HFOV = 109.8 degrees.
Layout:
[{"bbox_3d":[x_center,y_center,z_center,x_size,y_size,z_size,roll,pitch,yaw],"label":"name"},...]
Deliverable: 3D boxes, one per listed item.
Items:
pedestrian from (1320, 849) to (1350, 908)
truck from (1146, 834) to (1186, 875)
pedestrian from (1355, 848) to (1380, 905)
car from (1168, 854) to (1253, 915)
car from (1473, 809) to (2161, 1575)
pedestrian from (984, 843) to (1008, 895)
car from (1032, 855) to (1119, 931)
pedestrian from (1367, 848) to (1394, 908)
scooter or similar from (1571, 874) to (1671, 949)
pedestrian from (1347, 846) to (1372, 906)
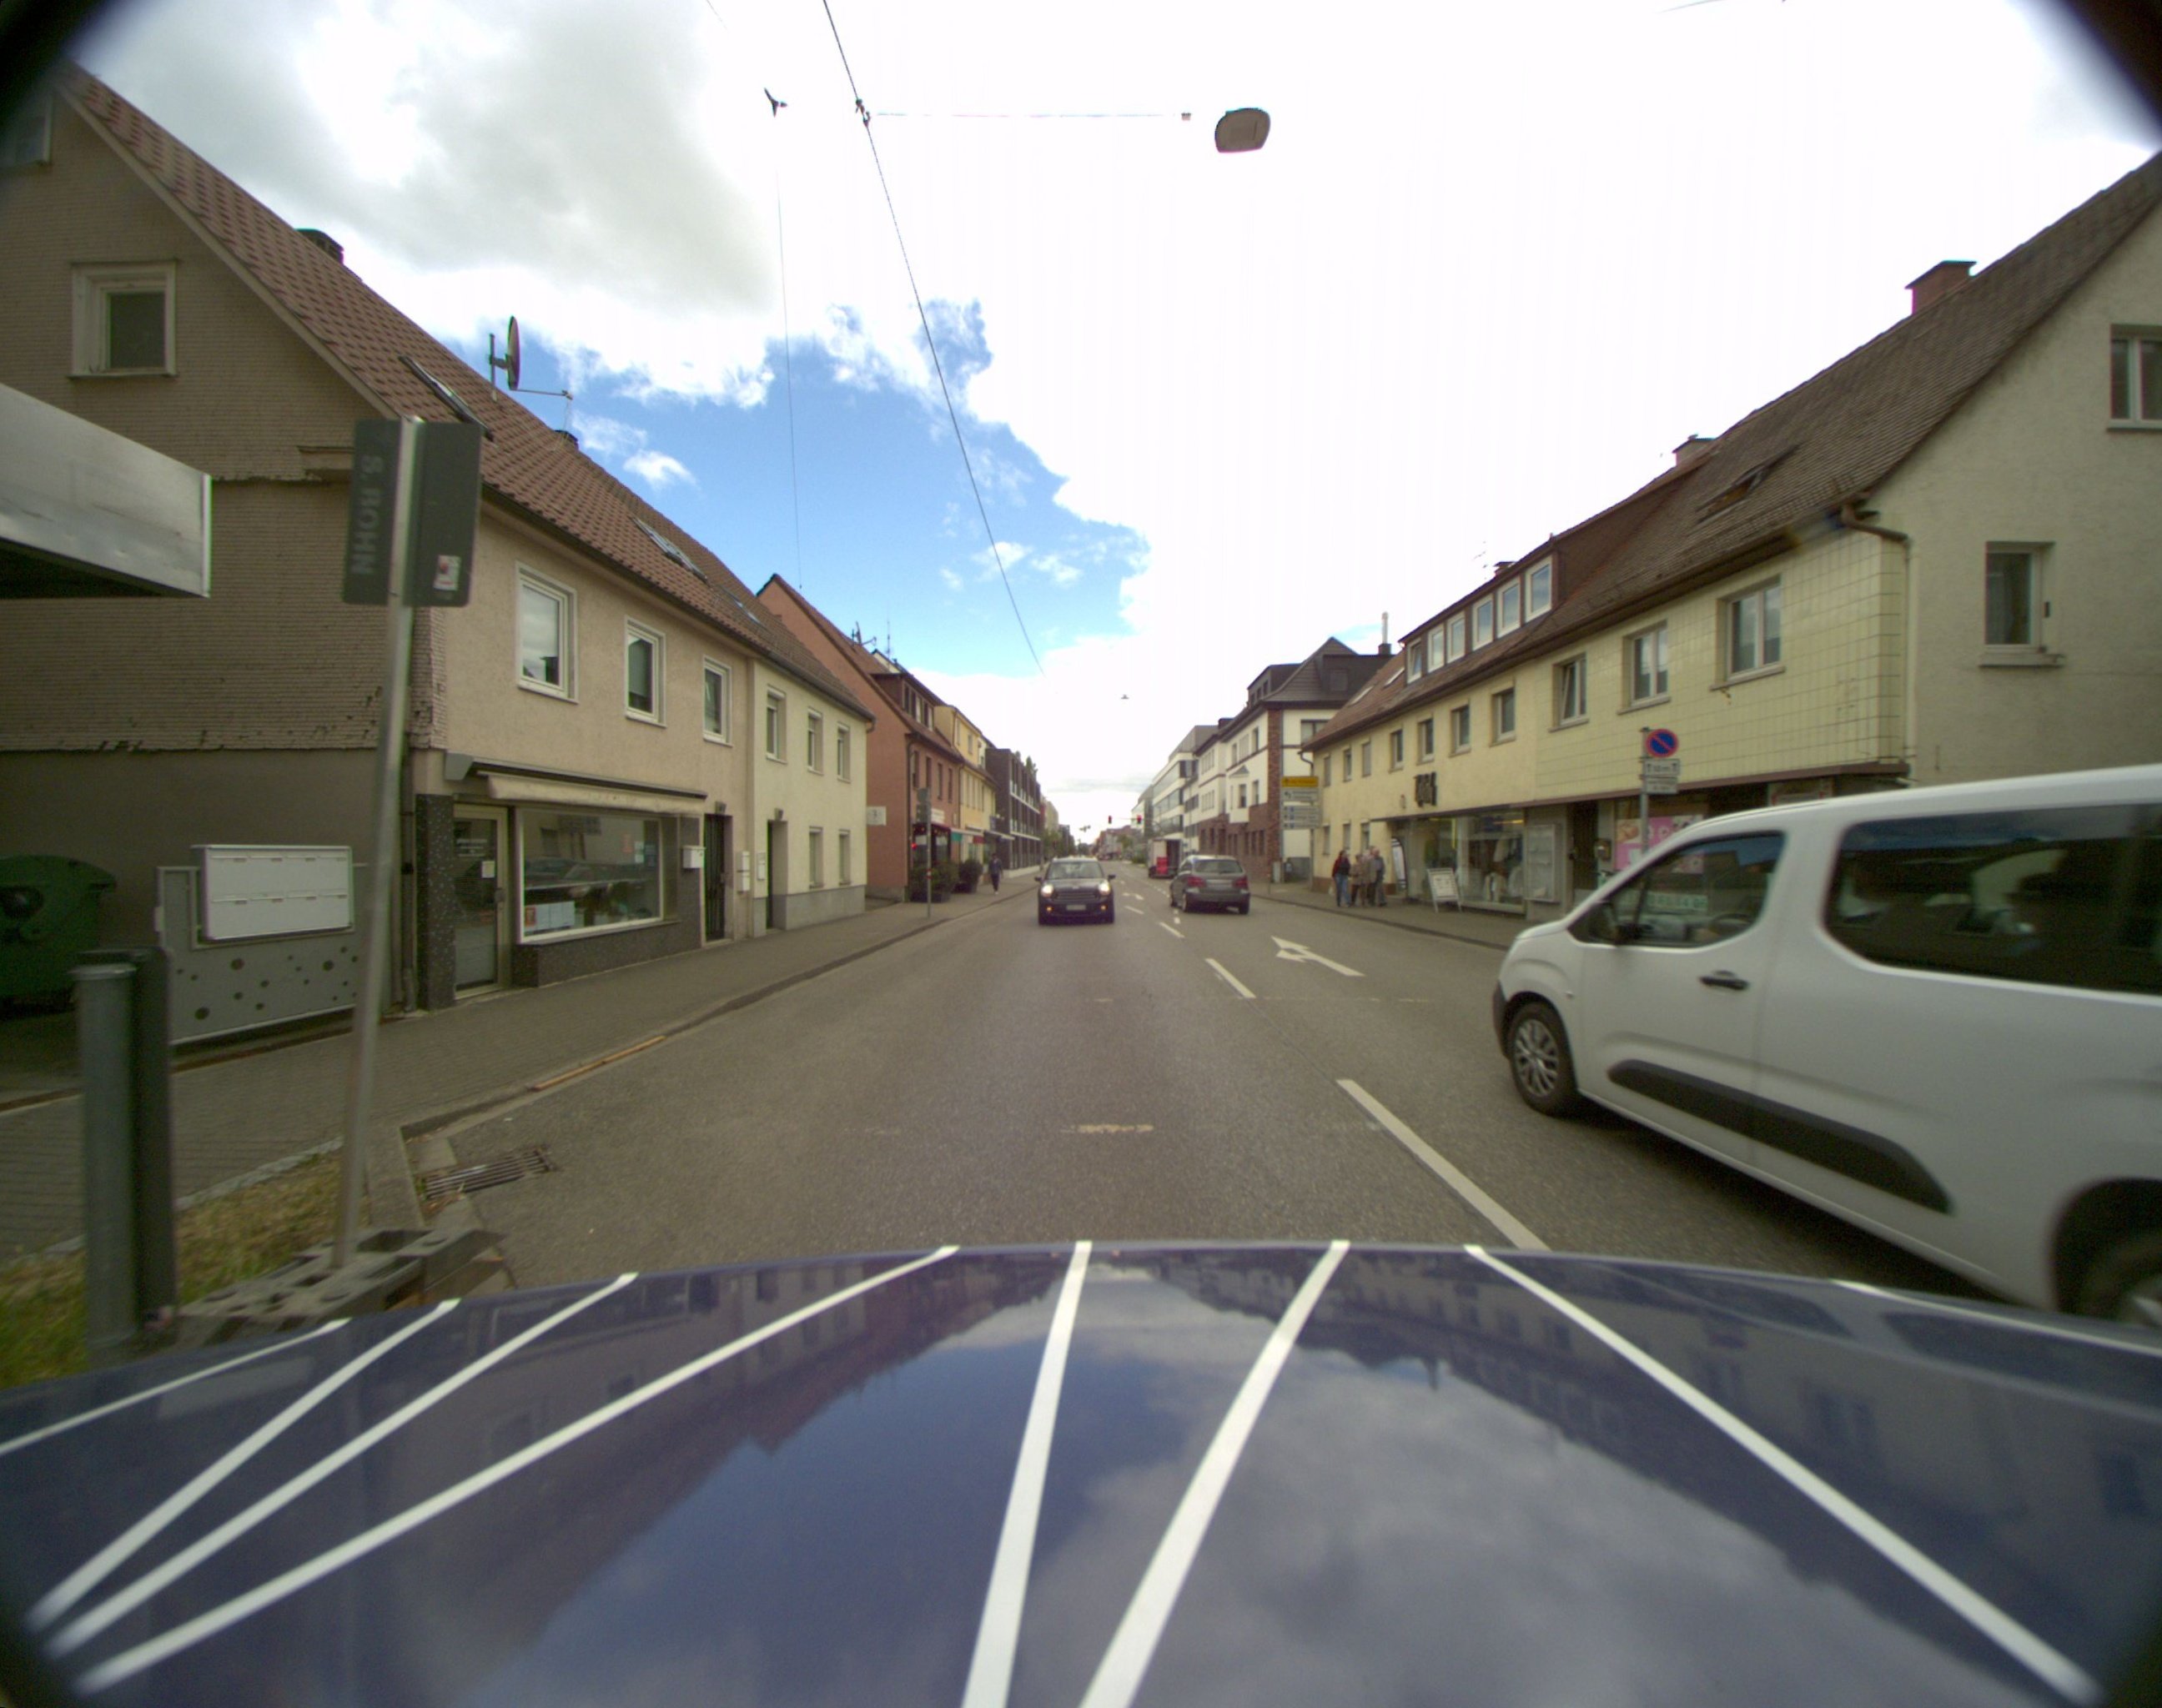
[{"bbox_3d":[7.568,0.716,22.651,0.679,1.727,0.717,0,1,1],"label":"pedestrian"},{"bbox_3d":[6.532,-0.004,58.928,2.468,2.954,5.964,-2,1,1],"label":"truck"},{"bbox_3d":[8.780,0.673,23.305,0.555,1.727,0.648,0,1,1],"label":"pedestrian"},{"bbox_3d":[3.634,0.806,22.048,1.784,1.543,4.074,2,0,1],"label":"car"},{"bbox_3d":[3.548,0.785,2.849,1.998,1.785,4.277,0,1,1],"label":"car"},{"bbox_3d":[-3.526,0.612,31.589,0.826,2.063,1.011,2,1,0],"label":"pedestrian"},{"bbox_3d":[-0.080,0.865,19.127,1.847,1.571,4.429,-3,0,1],"label":"car"},{"bbox_3d":[8.731,0.681,22.156,0.555,1.727,0.648,0,1,1],"label":"pedestrian"},{"bbox_3d":[9.340,0.959,13.222,0.529,1.163,1.721,-2,1,1],"label":"scooter or similar"},{"bbox_3d":[8.169,0.643,22.286,0.497,1.727,0.648,0,1,1],"label":"pedestrian"}]
